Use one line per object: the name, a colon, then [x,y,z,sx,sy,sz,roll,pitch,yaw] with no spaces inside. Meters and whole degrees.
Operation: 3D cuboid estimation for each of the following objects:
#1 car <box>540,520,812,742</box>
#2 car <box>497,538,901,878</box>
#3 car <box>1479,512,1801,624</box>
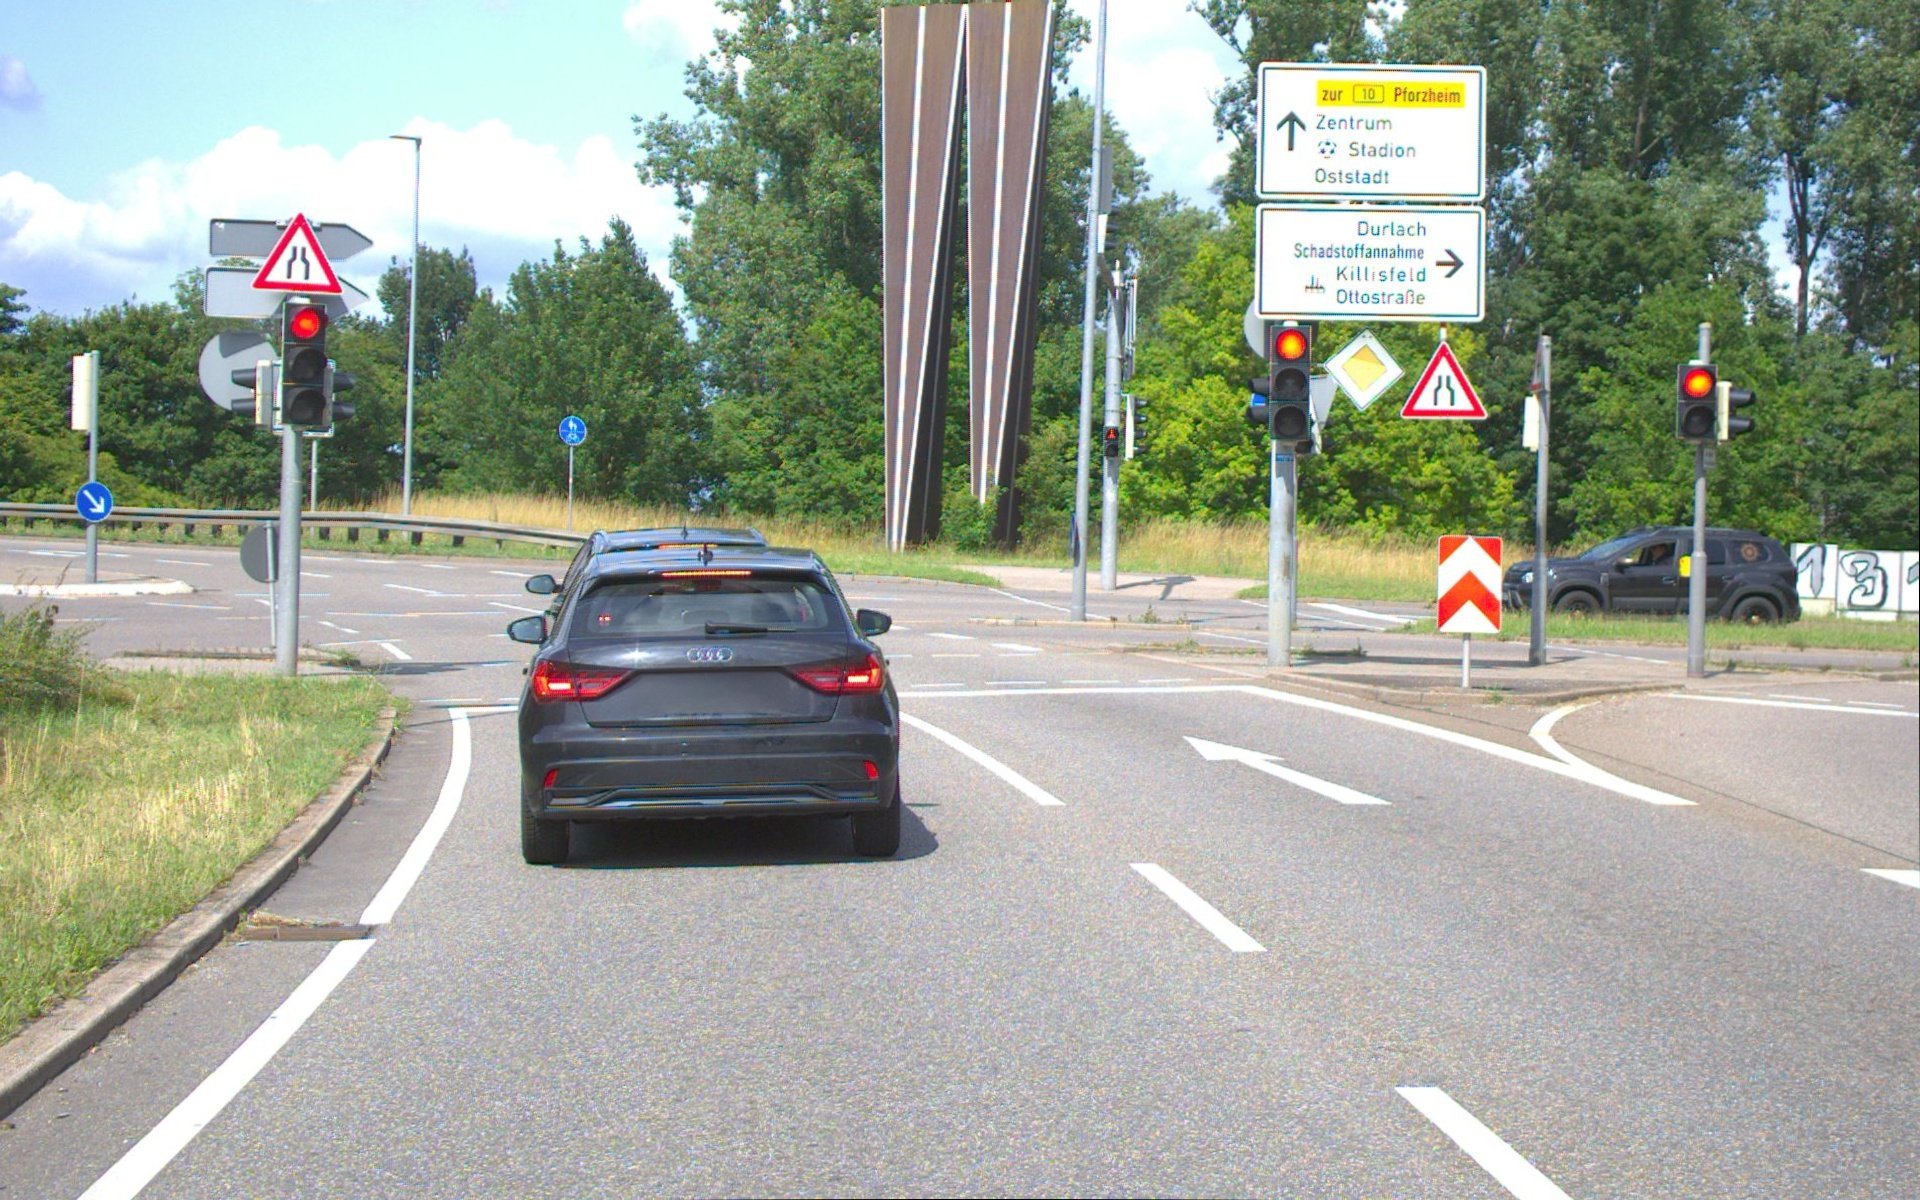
car: [-2.117,0.159,24.802,1.726,1.418,3.846,-1,2,-8]
car: [-1.273,0.429,16.866,1.726,1.399,4.001,-1,2,-4]
car: [9.883,-0.477,50.123,4.267,1.539,1.737,1,1,-4]
